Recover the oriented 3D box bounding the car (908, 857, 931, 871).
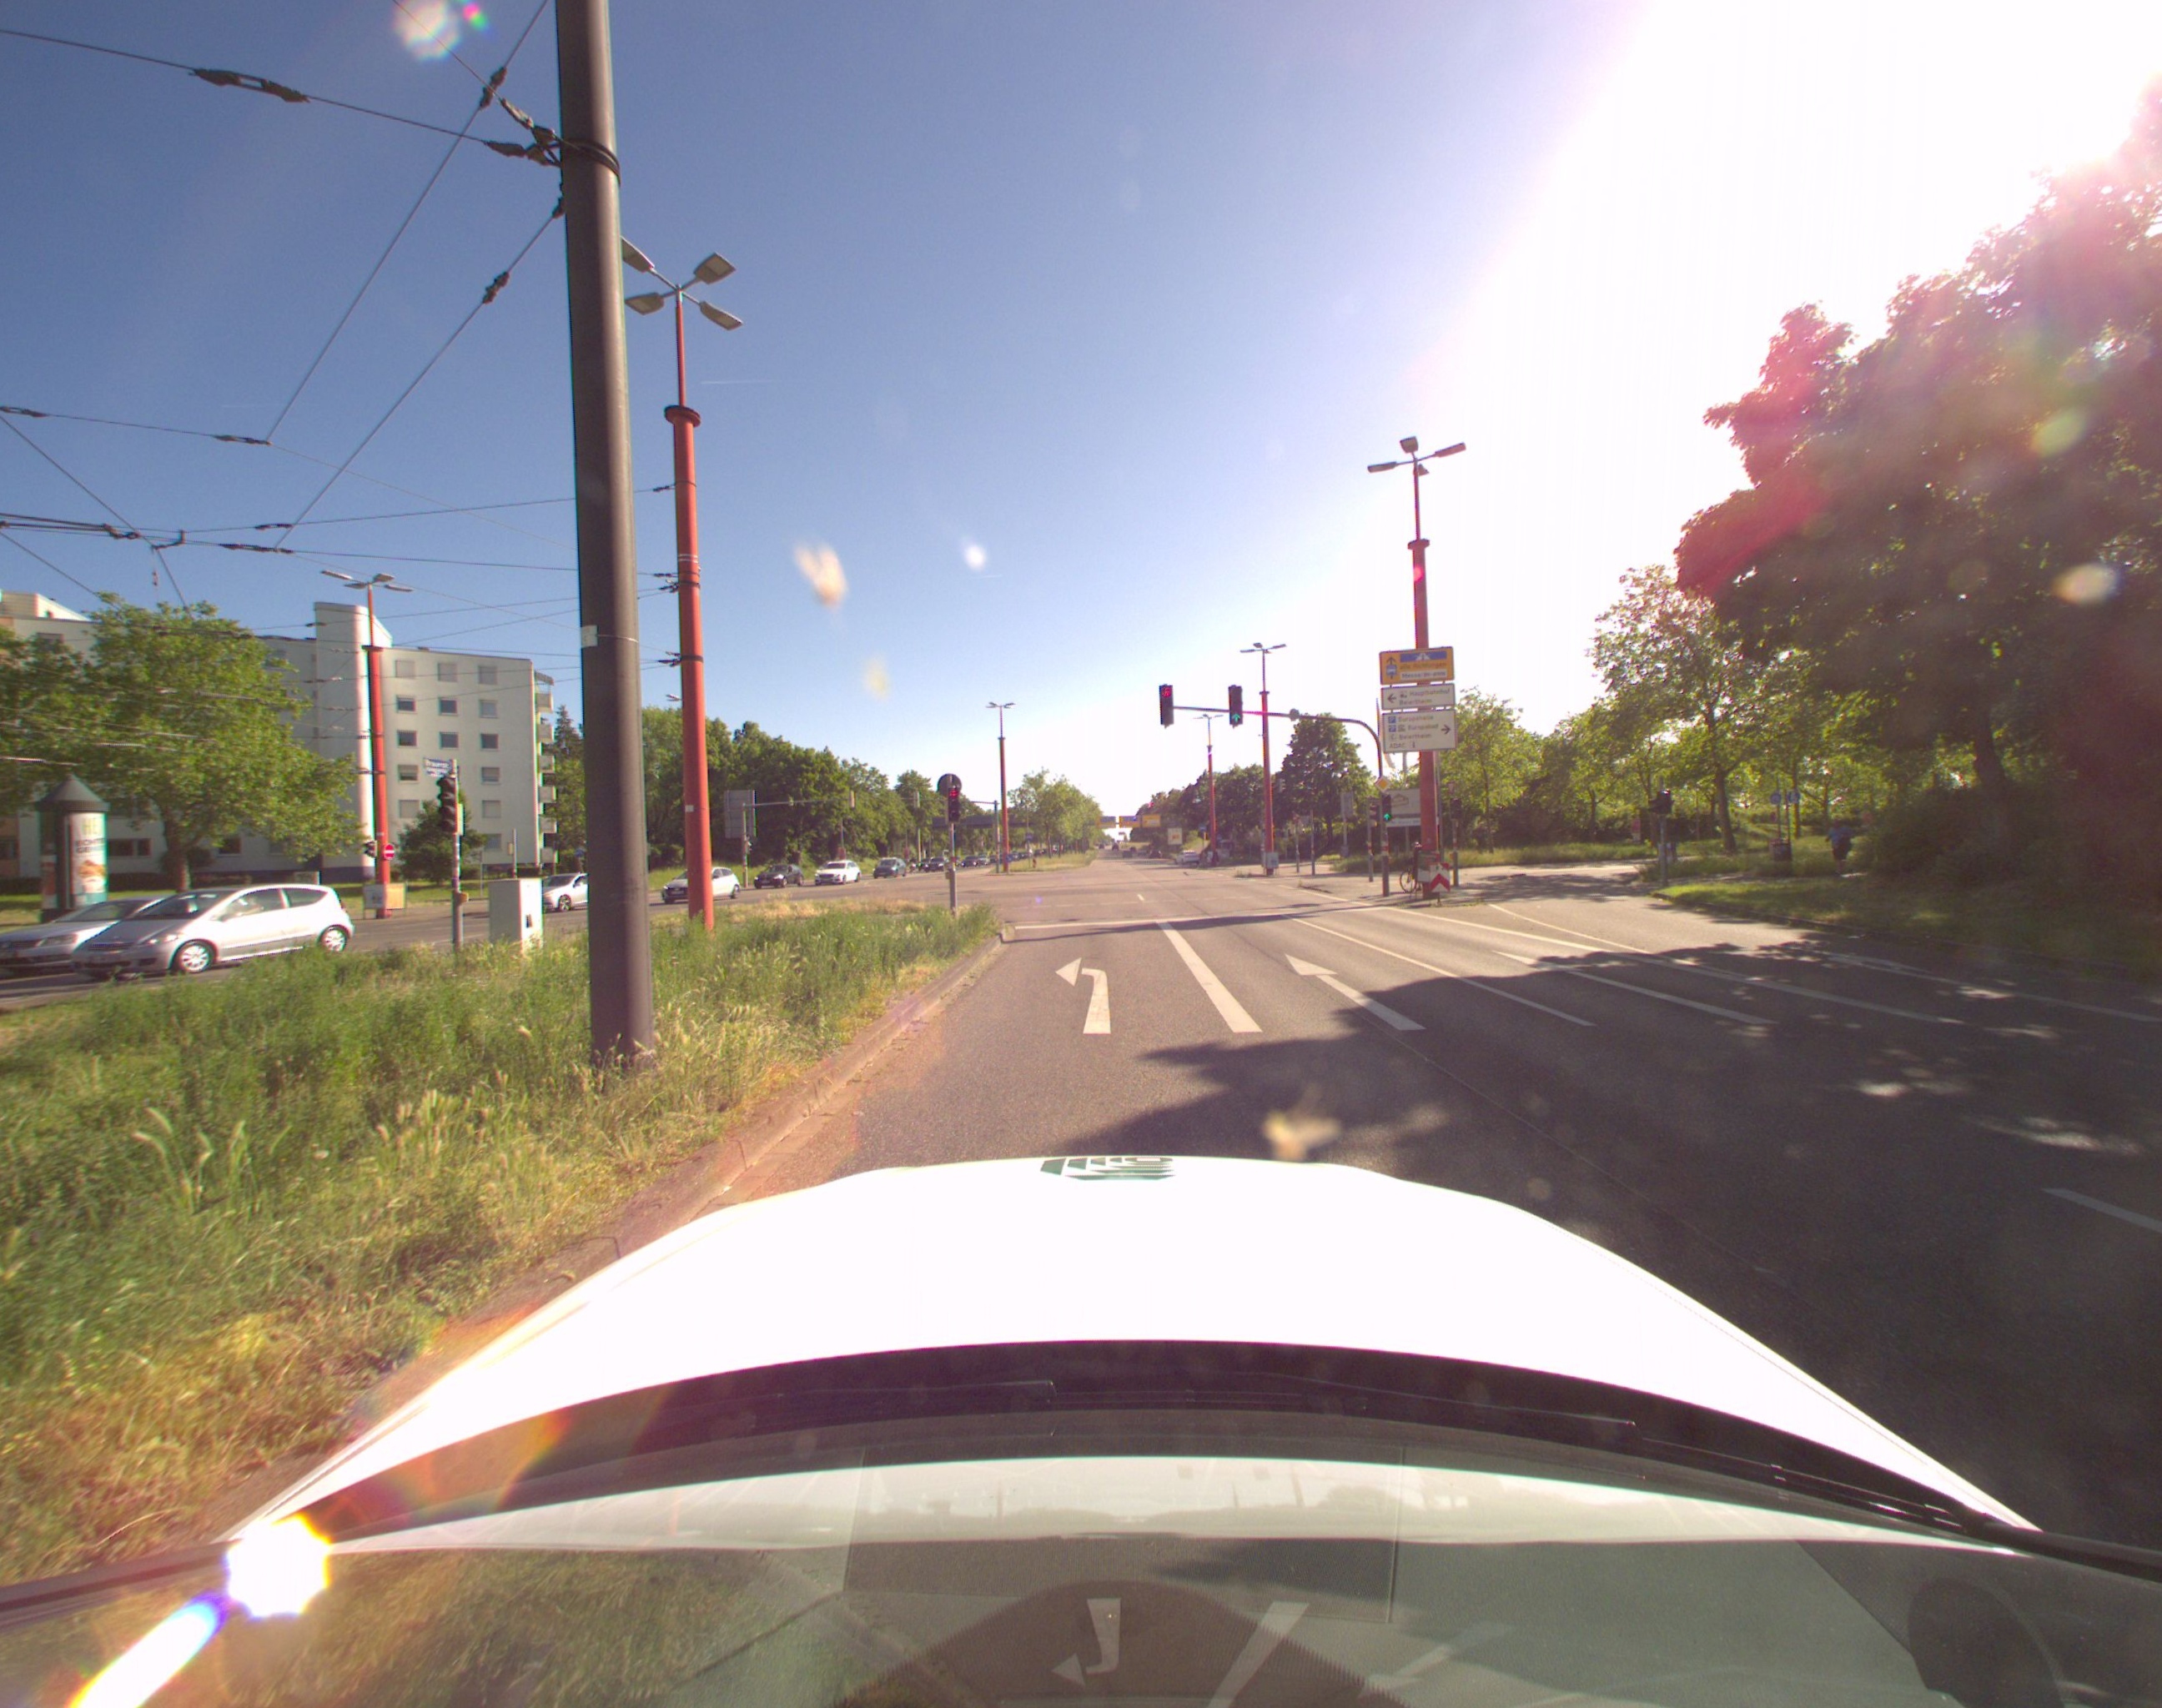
[{"bbox_3d":[-18.559,1.108,93.822,1.870,1.576,4.000,-1,0,0],"label":"car"}]

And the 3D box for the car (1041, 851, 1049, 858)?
[{"bbox_3d":[-9.870,0.190,222.155,1.650,1.747,4.003,-1,0,3],"label":"car"}]

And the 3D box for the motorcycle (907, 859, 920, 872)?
[{"bbox_3d":[-15.031,1.015,73.192,0.418,1.131,2.100,-1,0,8],"label":"motorcycle"}]

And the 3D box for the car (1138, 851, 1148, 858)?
[{"bbox_3d":[12.906,0.138,170.003,1.986,1.540,4.002,-1,0,2],"label":"car"}]

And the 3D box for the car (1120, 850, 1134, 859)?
[{"bbox_3d":[8.201,0.105,145.068,1.989,1.496,3.995,-2,0,-3],"label":"car"}]

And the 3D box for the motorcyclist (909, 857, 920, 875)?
[{"bbox_3d":[-14.991,1.094,73.416,0.830,1.599,0.642,-1,-1,8],"label":"motorcyclist"}]

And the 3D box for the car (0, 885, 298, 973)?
[{"bbox_3d":[-20.239,1.518,17.601,1.986,1.432,4.694,-3,0,1],"label":"car"}]

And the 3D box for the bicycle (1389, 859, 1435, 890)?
[{"bbox_3d":[10.766,0.646,26.436,0.553,0.878,2.182,-2,0,45],"label":"bicycle"}]

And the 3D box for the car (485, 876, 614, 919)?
[{"bbox_3d":[-20.040,1.607,30.974,1.987,1.374,4.400,-1,0,0],"label":"car"}]

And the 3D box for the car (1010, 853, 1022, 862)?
[{"bbox_3d":[-11.941,0.617,149.211,1.697,1.596,4.003,-1,0,3],"label":"car"}]

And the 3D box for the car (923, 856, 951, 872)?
[{"bbox_3d":[-14.245,0.960,80.860,1.870,1.485,4.605,-1,0,0],"label":"car"}]

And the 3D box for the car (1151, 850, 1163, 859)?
[{"bbox_3d":[12.129,0.119,129.784,1.731,1.341,3.083,-2,0,2],"label":"car"}]

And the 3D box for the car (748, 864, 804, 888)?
[{"bbox_3d":[-18.816,1.335,50.374,1.855,1.341,4.031,-3,0,1],"label":"car"}]

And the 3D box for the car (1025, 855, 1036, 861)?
[{"bbox_3d":[-10.738,0.860,173.578,1.998,1.308,3.998,-2,0,-1],"label":"car"}]

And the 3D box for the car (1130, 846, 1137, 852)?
[{"bbox_3d":[14.317,-1.317,221.869,1.985,1.540,4.004,-2,0,3],"label":"car"}]

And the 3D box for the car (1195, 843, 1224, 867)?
[{"bbox_3d":[10.594,0.042,67.067,1.980,1.887,4.015,-2,0,13],"label":"car"}]

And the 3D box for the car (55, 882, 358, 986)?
[{"bbox_3d":[-16.776,1.447,15.943,1.756,1.608,3.760,-2,0,2],"label":"car"}]

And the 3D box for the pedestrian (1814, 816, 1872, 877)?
[{"bbox_3d":[22.721,-0.221,24.310,0.889,1.788,0.900,0,1,-2],"label":"pedestrian"}]

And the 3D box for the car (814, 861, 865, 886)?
[{"bbox_3d":[-15.459,1.224,52.345,1.697,1.423,4.644,-3,0,1],"label":"car"}]

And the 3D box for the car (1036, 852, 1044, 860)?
[{"bbox_3d":[-10.193,0.448,201.933,1.619,1.739,4.002,-2,0,2],"label":"car"}]

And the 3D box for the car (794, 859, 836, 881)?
[{"bbox_3d":[-20.355,1.208,62.561,1.870,1.576,4.000,-1,0,0],"label":"car"}]

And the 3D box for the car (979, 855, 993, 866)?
[{"bbox_3d":[-13.083,0.877,112.330,1.601,1.459,3.947,-2,0,-2],"label":"car"}]

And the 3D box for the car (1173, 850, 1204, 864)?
[{"bbox_3d":[11.026,0.307,83.819,2.052,1.371,4.381,-2,0,-7],"label":"car"}]

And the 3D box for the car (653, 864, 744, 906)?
[{"bbox_3d":[-15.970,1.247,34.267,1.582,1.472,4.186,-3,1,3],"label":"car"}]

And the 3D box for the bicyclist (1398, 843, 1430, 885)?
[{"bbox_3d":[10.858,0.318,26.561,0.746,1.341,0.699,-2,0,-44],"label":"bicyclist"}]

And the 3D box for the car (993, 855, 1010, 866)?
[{"bbox_3d":[-10.625,0.837,109.400,1.694,1.421,4.002,1,0,2],"label":"car"}]

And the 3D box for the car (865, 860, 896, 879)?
[{"bbox_3d":[-19.128,1.438,77.993,1.794,1.707,4.061,-2,0,2],"label":"car"}]

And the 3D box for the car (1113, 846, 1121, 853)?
[{"bbox_3d":[10.898,-1.298,246.668,2.146,2.013,4.002,-2,0,2],"label":"car"}]

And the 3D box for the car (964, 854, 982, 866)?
[{"bbox_3d":[-13.502,0.747,101.713,1.542,1.377,4.263,-2,0,1],"label":"car"}]

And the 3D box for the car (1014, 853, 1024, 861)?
[{"bbox_3d":[-12.305,0.602,161.715,1.697,1.558,3.805,-1,0,2],"label":"car"}]

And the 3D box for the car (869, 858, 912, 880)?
[{"bbox_3d":[-14.777,1.135,63.359,1.985,1.594,4.468,-2,0,3],"label":"car"}]
